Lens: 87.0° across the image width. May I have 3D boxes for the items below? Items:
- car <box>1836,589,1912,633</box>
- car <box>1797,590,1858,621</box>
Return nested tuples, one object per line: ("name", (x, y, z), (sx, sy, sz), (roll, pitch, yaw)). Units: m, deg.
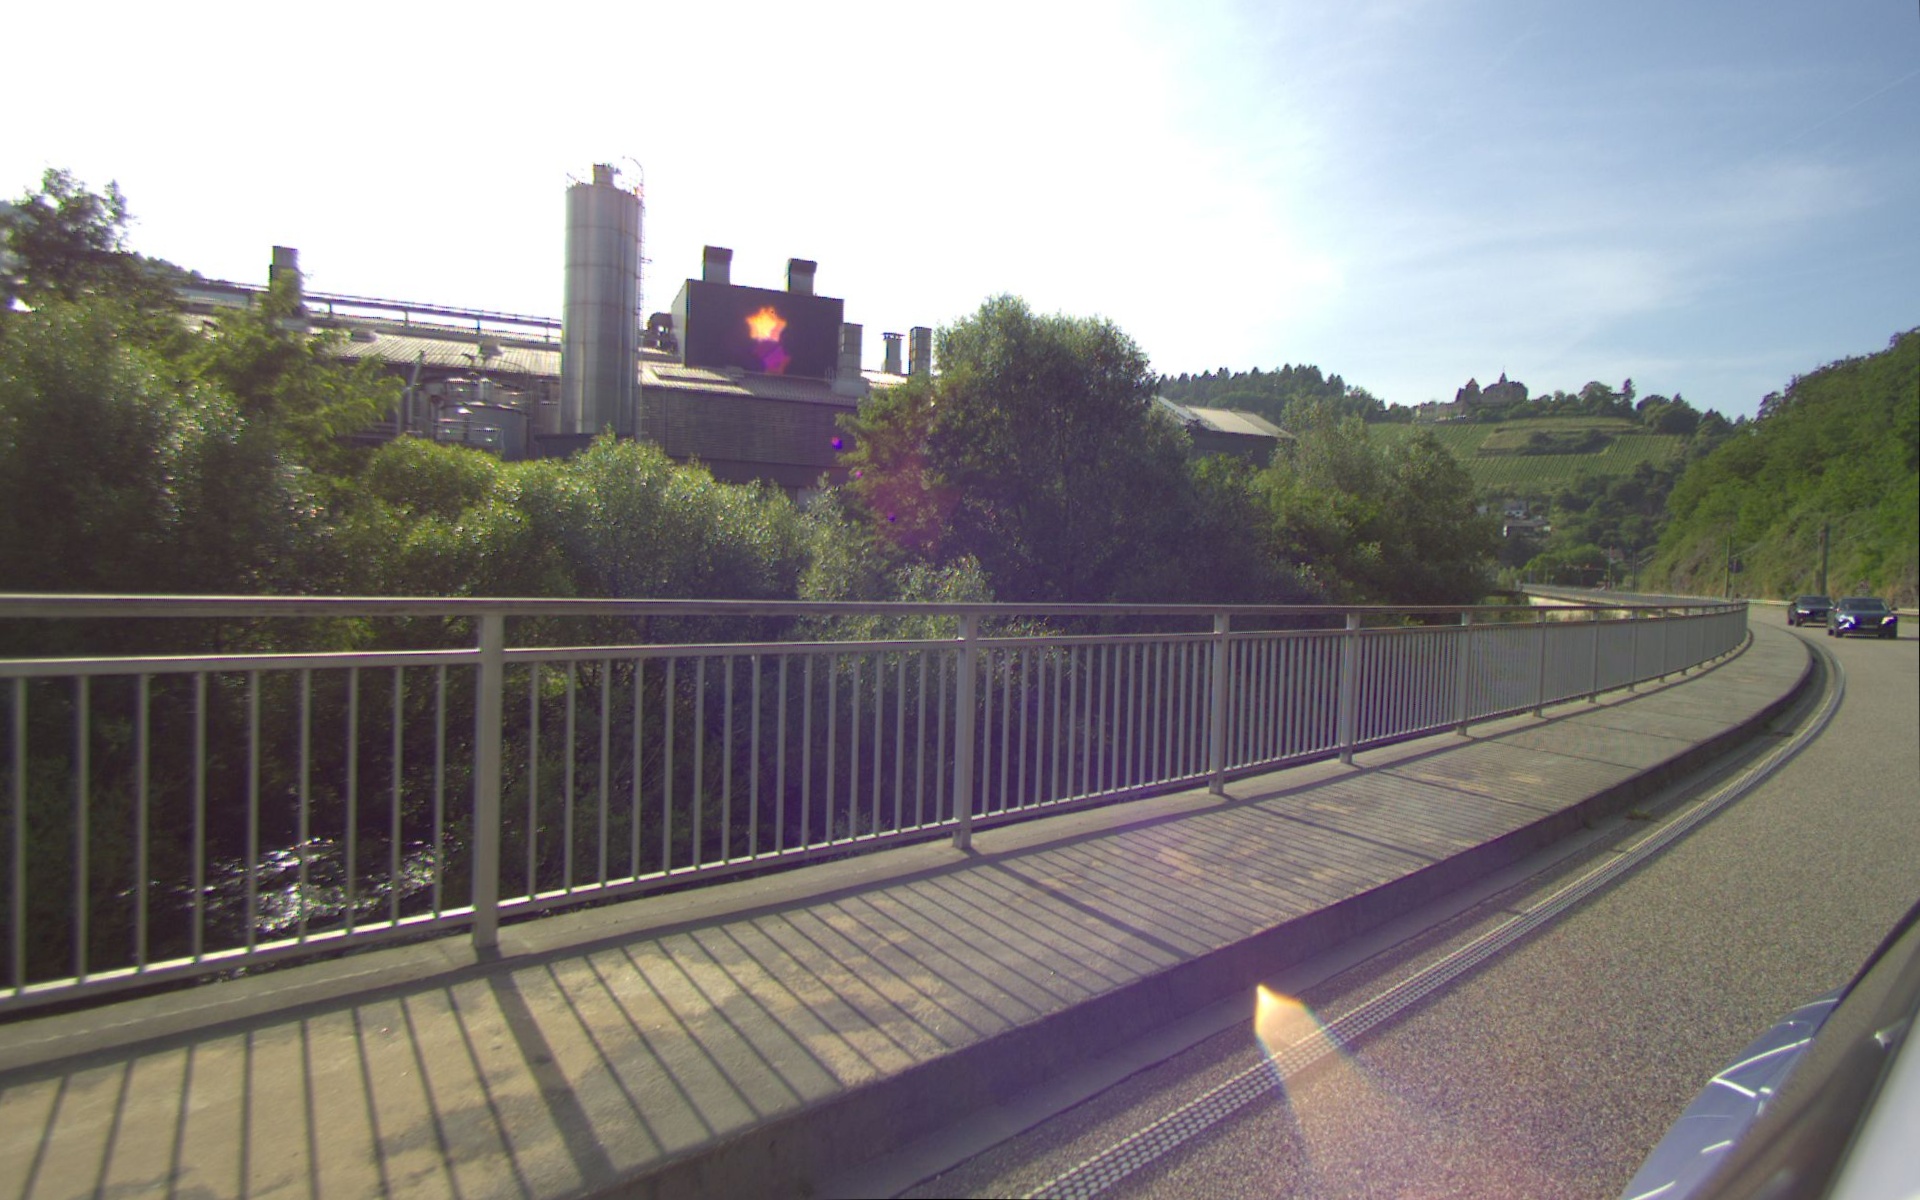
("car", (36.596, 0.398, 40.619), (1.854, 1.605, 3.948), (1, 2, 36))
("car", (45.727, 0.304, 53.404), (1.989, 1.409, 3.948), (6, 3, 36))
